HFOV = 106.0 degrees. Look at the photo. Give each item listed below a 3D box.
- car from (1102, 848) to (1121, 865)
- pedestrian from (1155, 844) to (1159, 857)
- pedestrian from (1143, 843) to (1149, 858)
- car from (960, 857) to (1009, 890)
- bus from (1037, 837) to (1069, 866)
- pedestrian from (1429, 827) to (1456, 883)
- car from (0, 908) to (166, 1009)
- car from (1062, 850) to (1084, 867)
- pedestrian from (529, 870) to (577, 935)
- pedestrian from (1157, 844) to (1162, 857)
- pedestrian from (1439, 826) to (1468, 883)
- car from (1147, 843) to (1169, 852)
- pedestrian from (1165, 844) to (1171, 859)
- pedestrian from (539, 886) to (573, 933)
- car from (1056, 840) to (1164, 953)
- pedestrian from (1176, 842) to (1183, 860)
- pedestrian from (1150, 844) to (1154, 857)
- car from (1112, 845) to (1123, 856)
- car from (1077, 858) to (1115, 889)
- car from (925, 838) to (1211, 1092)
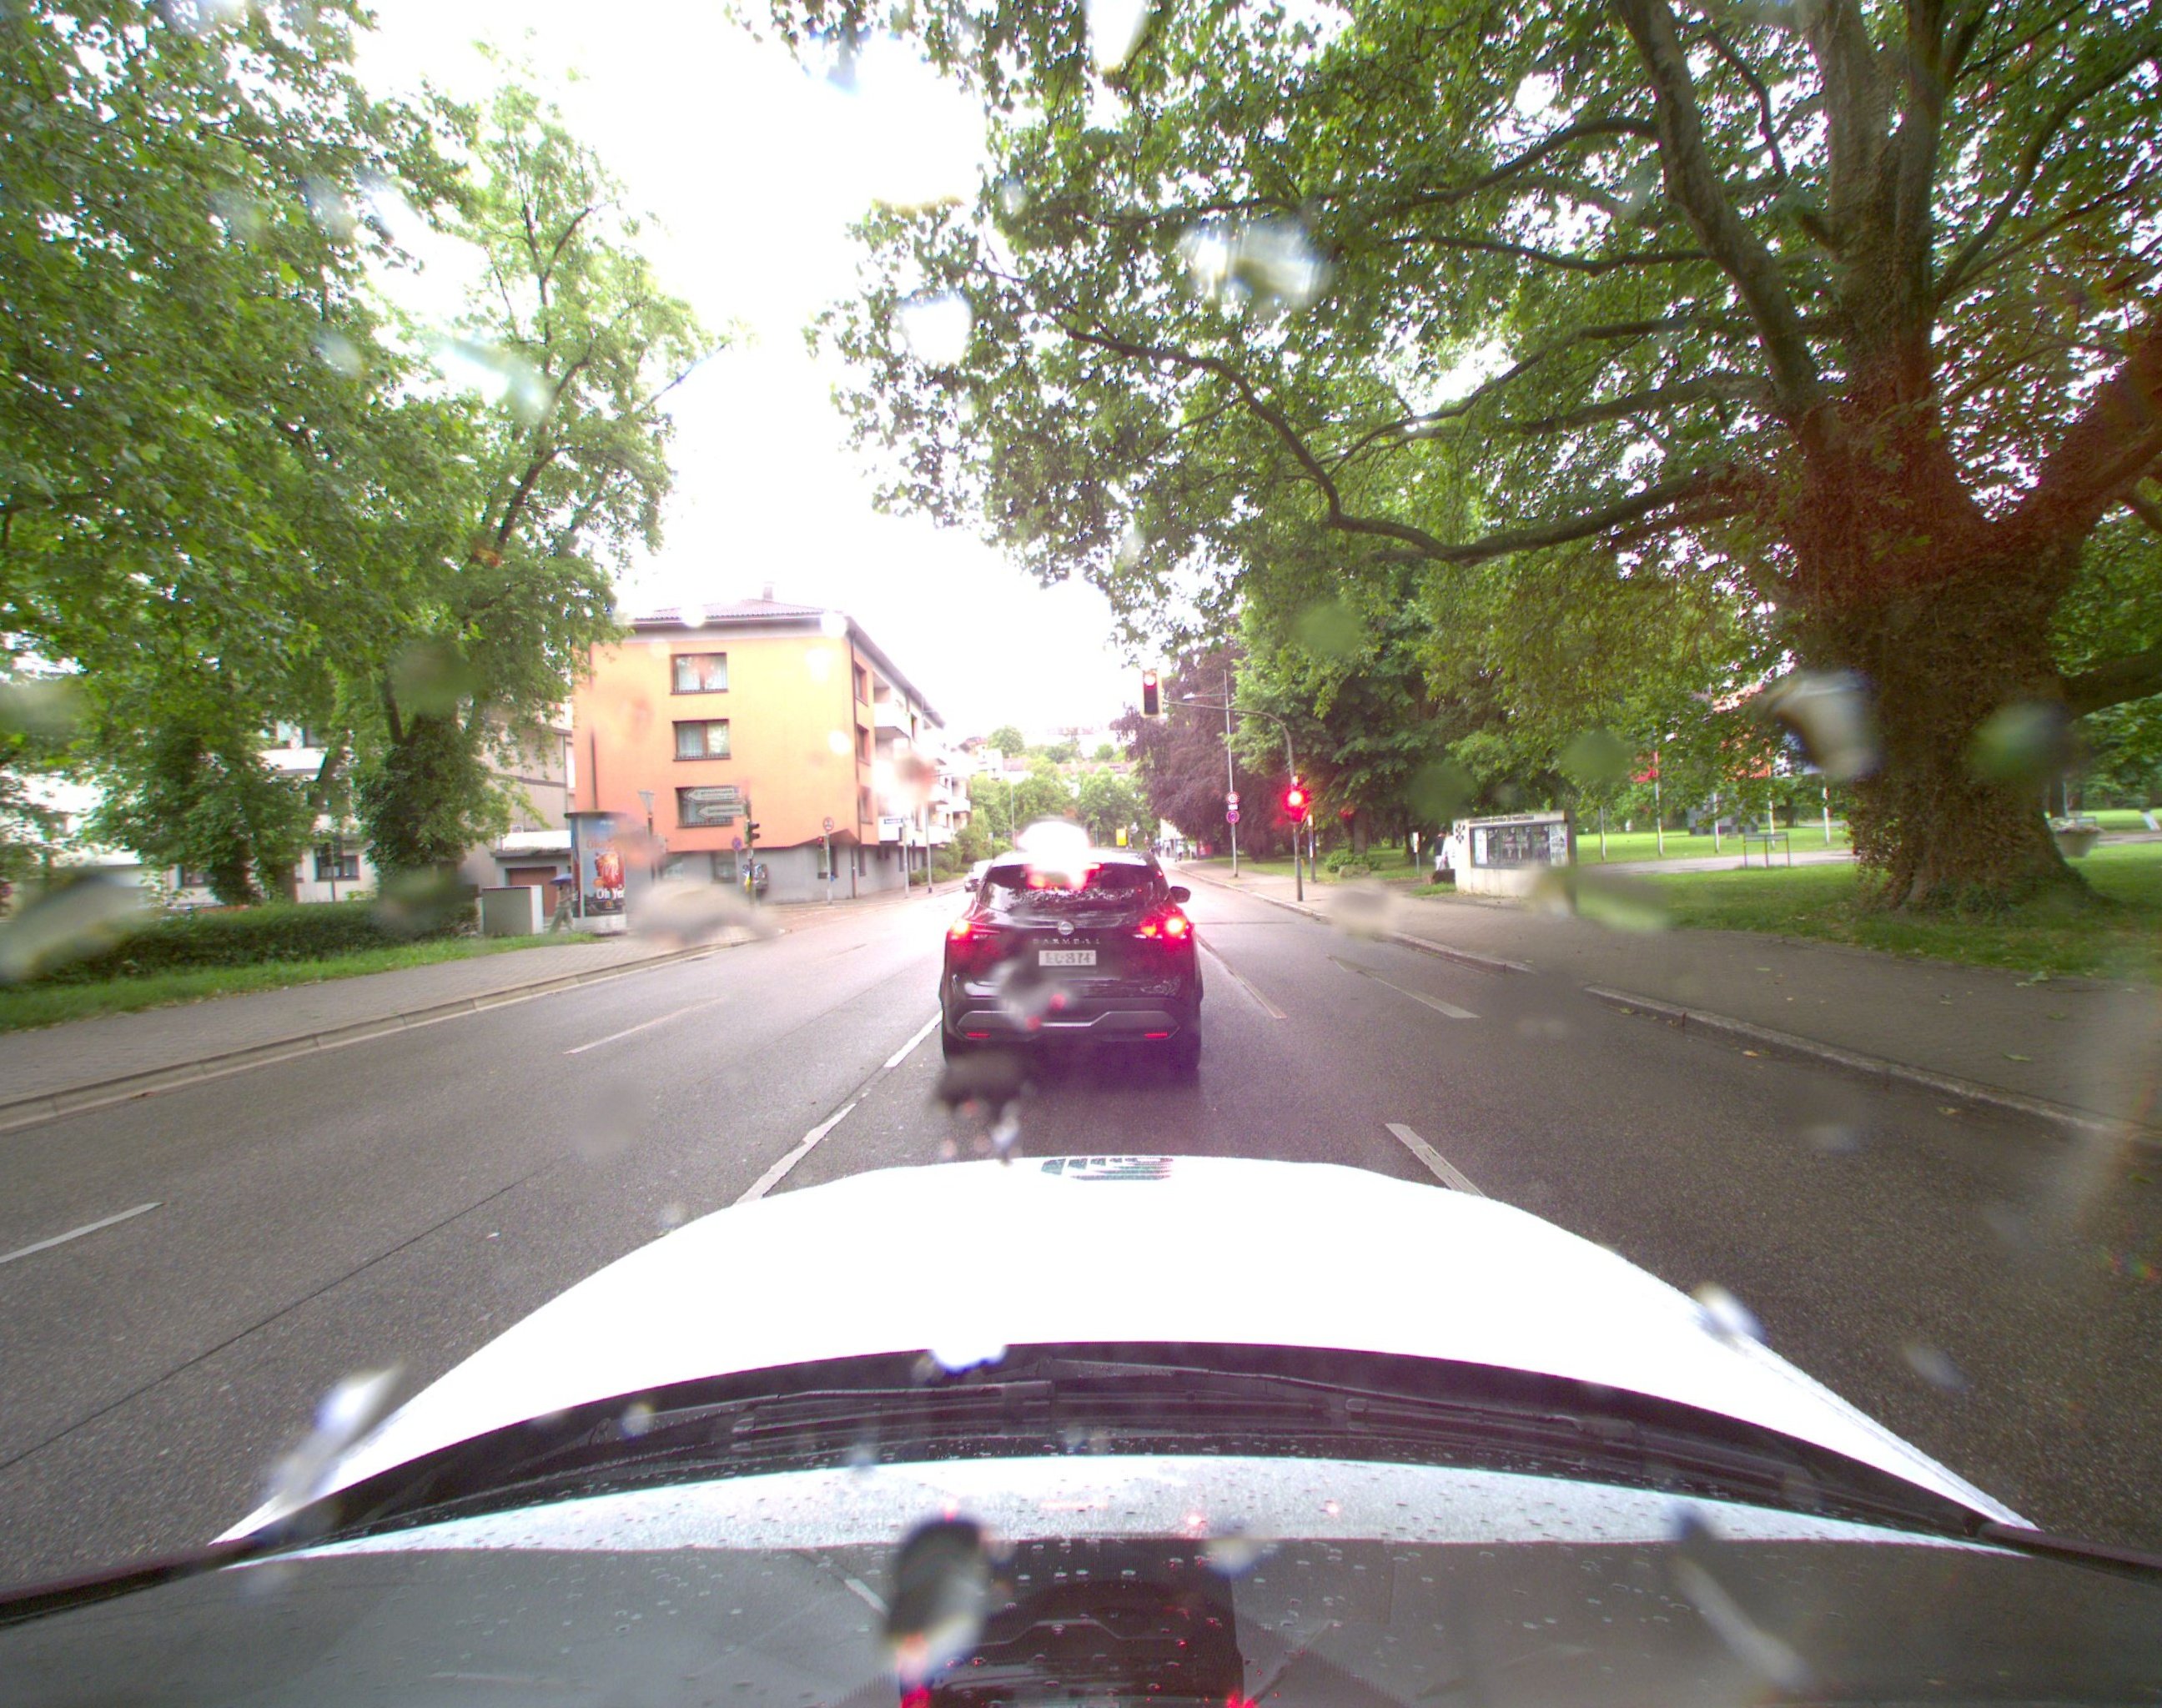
[{"bbox_3d":[2.864,0.213,76.531,1.618,1.415,3.456,-3,0,2],"label":"car"},{"bbox_3d":[10.073,-0.457,107.691,0.513,1.655,0.550,0,-1,1],"label":"pedestrian"},{"bbox_3d":[9.551,-0.551,119.604,0.764,2.183,0.712,0,-1,5],"label":"pedestrian"},{"bbox_3d":[-4.825,0.964,41.201,1.802,1.417,4.031,-4,0,1],"label":"car"},{"bbox_3d":[-3.121,-0.258,94.800,2.756,2.974,11.786,-3,0,2],"label":"bus"},{"bbox_3d":[11.477,0.031,25.866,0.484,1.721,0.559,-3,0,-5],"label":"pedestrian"},{"bbox_3d":[-18.007,1.734,13.813,3.182,1.524,1.507,0,-1,-1],"label":"car"},{"bbox_3d":[-0.669,0.370,70.869,1.618,1.415,3.456,-3,0,2],"label":"car"},{"bbox_3d":[-14.779,1.323,22.774,1.000,1.742,1.195,0,0,-39],"label":"pedestrian"},{"bbox_3d":[10.503,-0.477,108.909,0.696,1.651,0.628,0,-1,2],"label":"pedestrian"},{"bbox_3d":[11.548,0.026,25.256,0.502,1.721,0.559,-3,0,-5],"label":"pedestrian"},{"bbox_3d":[15.457,-1.278,163.568,3.986,1.684,1.994,-3,0,-9],"label":"car"},{"bbox_3d":[10.959,-0.302,102.842,0.616,1.779,0.551,-3,0,1],"label":"pedestrian"},{"bbox_3d":[-14.155,1.484,21.960,0.690,1.175,0.817,0,0,-39],"label":"pedestrian"},{"bbox_3d":[0.578,0.669,14.793,1.615,1.709,3.774,-3,0,3],"label":"car"},{"bbox_3d":[10.061,-0.276,83.115,0.616,1.779,0.779,-3,0,1],"label":"pedestrian"},{"bbox_3d":[9.529,-0.453,108.826,0.542,1.651,0.490,0,-1,2],"label":"pedestrian"},{"bbox_3d":[6.153,-0.623,136.431,1.743,1.633,3.636,-3,0,2],"label":"car"},{"bbox_3d":[0.743,0.937,41.254,1.802,1.417,4.031,-2,0,1],"label":"car"},{"bbox_3d":[-0.021,0.719,7.137,1.799,1.590,4.001,0,-1,2],"label":"car"}]
